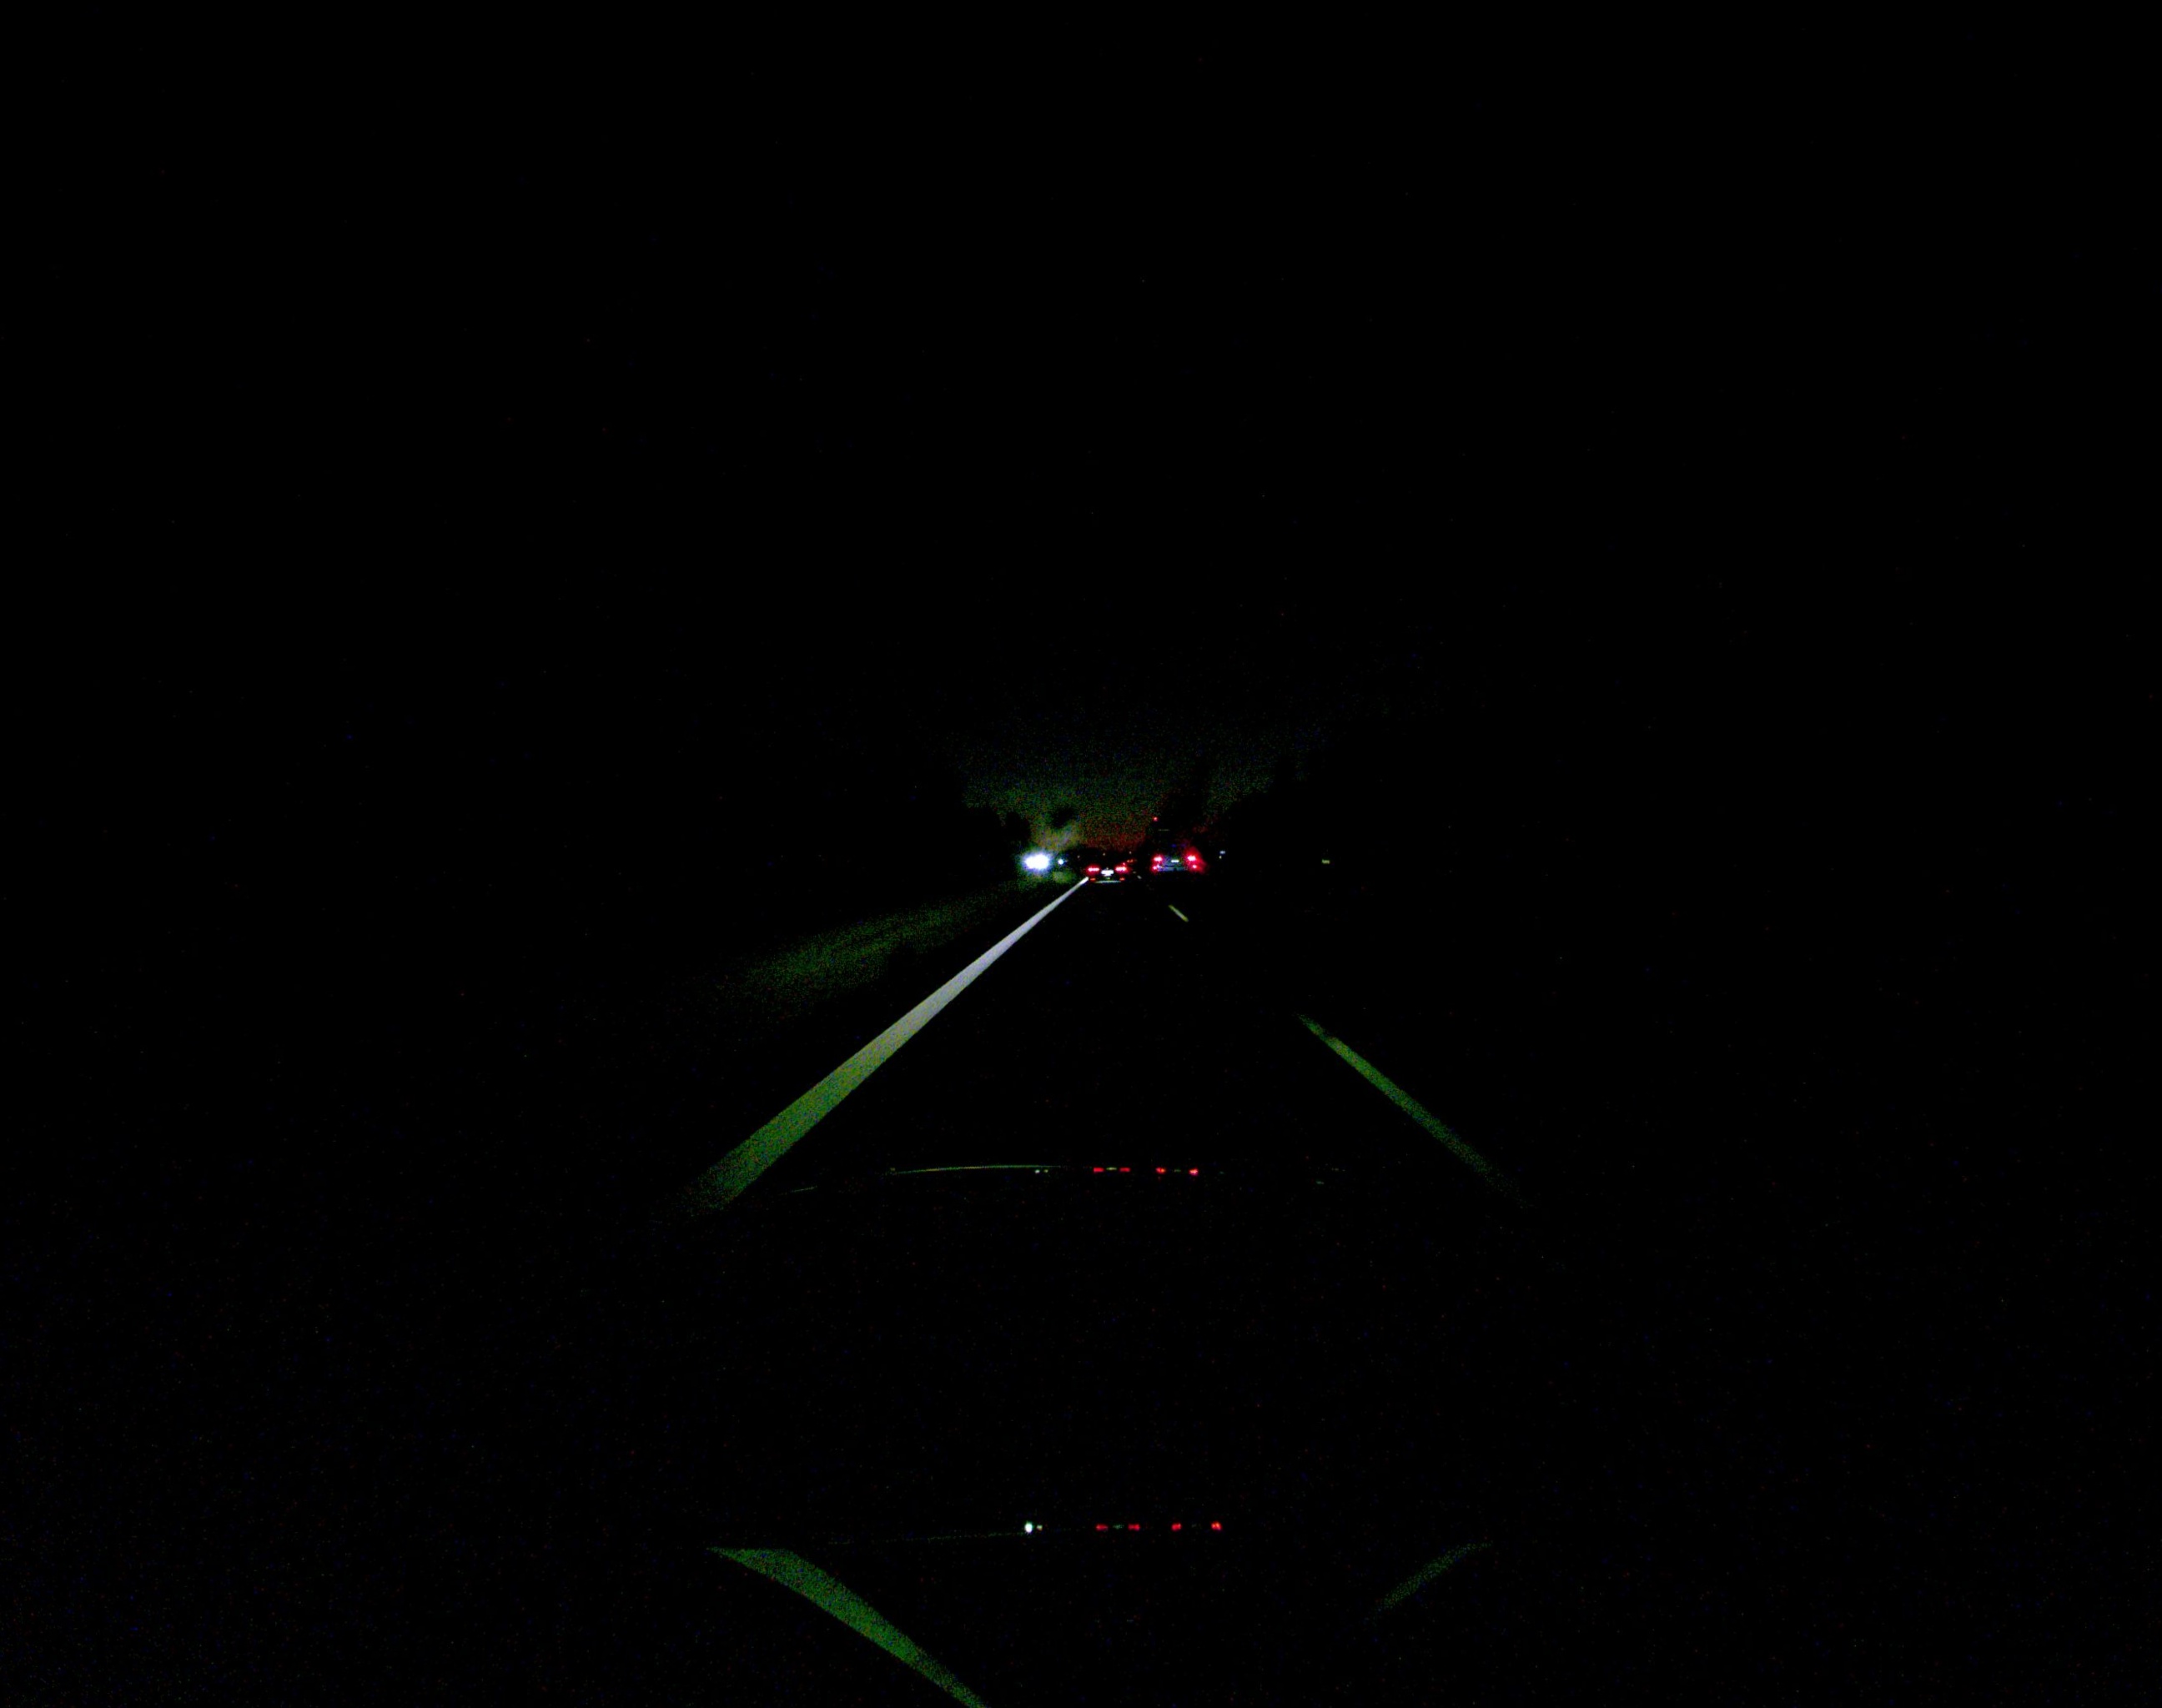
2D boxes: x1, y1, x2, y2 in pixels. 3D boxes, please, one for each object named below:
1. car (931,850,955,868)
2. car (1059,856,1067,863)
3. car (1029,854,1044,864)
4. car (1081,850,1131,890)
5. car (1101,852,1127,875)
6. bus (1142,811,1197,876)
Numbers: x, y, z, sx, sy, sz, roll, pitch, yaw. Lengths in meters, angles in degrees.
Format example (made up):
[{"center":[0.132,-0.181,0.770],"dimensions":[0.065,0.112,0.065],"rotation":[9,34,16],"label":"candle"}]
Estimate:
[{"center":[-16.808,0.620,99.307],"dimensions":[1.986,1.926,4.001],"rotation":[-4,-1,1],"label":"car"},{"center":[-4.983,1.505,230.945],"dimensions":[1.985,1.776,5.172],"rotation":[0,0,1],"label":"car"},{"center":[-6.742,0.745,124.406],"dimensions":[1.926,1.561,4.455],"rotation":[0,0,1],"label":"car"},{"center":[1.117,0.728,37.299],"dimensions":[2.098,1.618,4.204],"rotation":[-2,-1,1],"label":"car"},{"center":[2.642,0.770,65.945],"dimensions":[1.904,1.730,4.000],"rotation":[-3,-1,1],"label":"car"},{"center":[6.176,-0.528,59.130],"dimensions":[2.642,3.994,14.706],"rotation":[-3,-1,2],"label":"bus"}]
